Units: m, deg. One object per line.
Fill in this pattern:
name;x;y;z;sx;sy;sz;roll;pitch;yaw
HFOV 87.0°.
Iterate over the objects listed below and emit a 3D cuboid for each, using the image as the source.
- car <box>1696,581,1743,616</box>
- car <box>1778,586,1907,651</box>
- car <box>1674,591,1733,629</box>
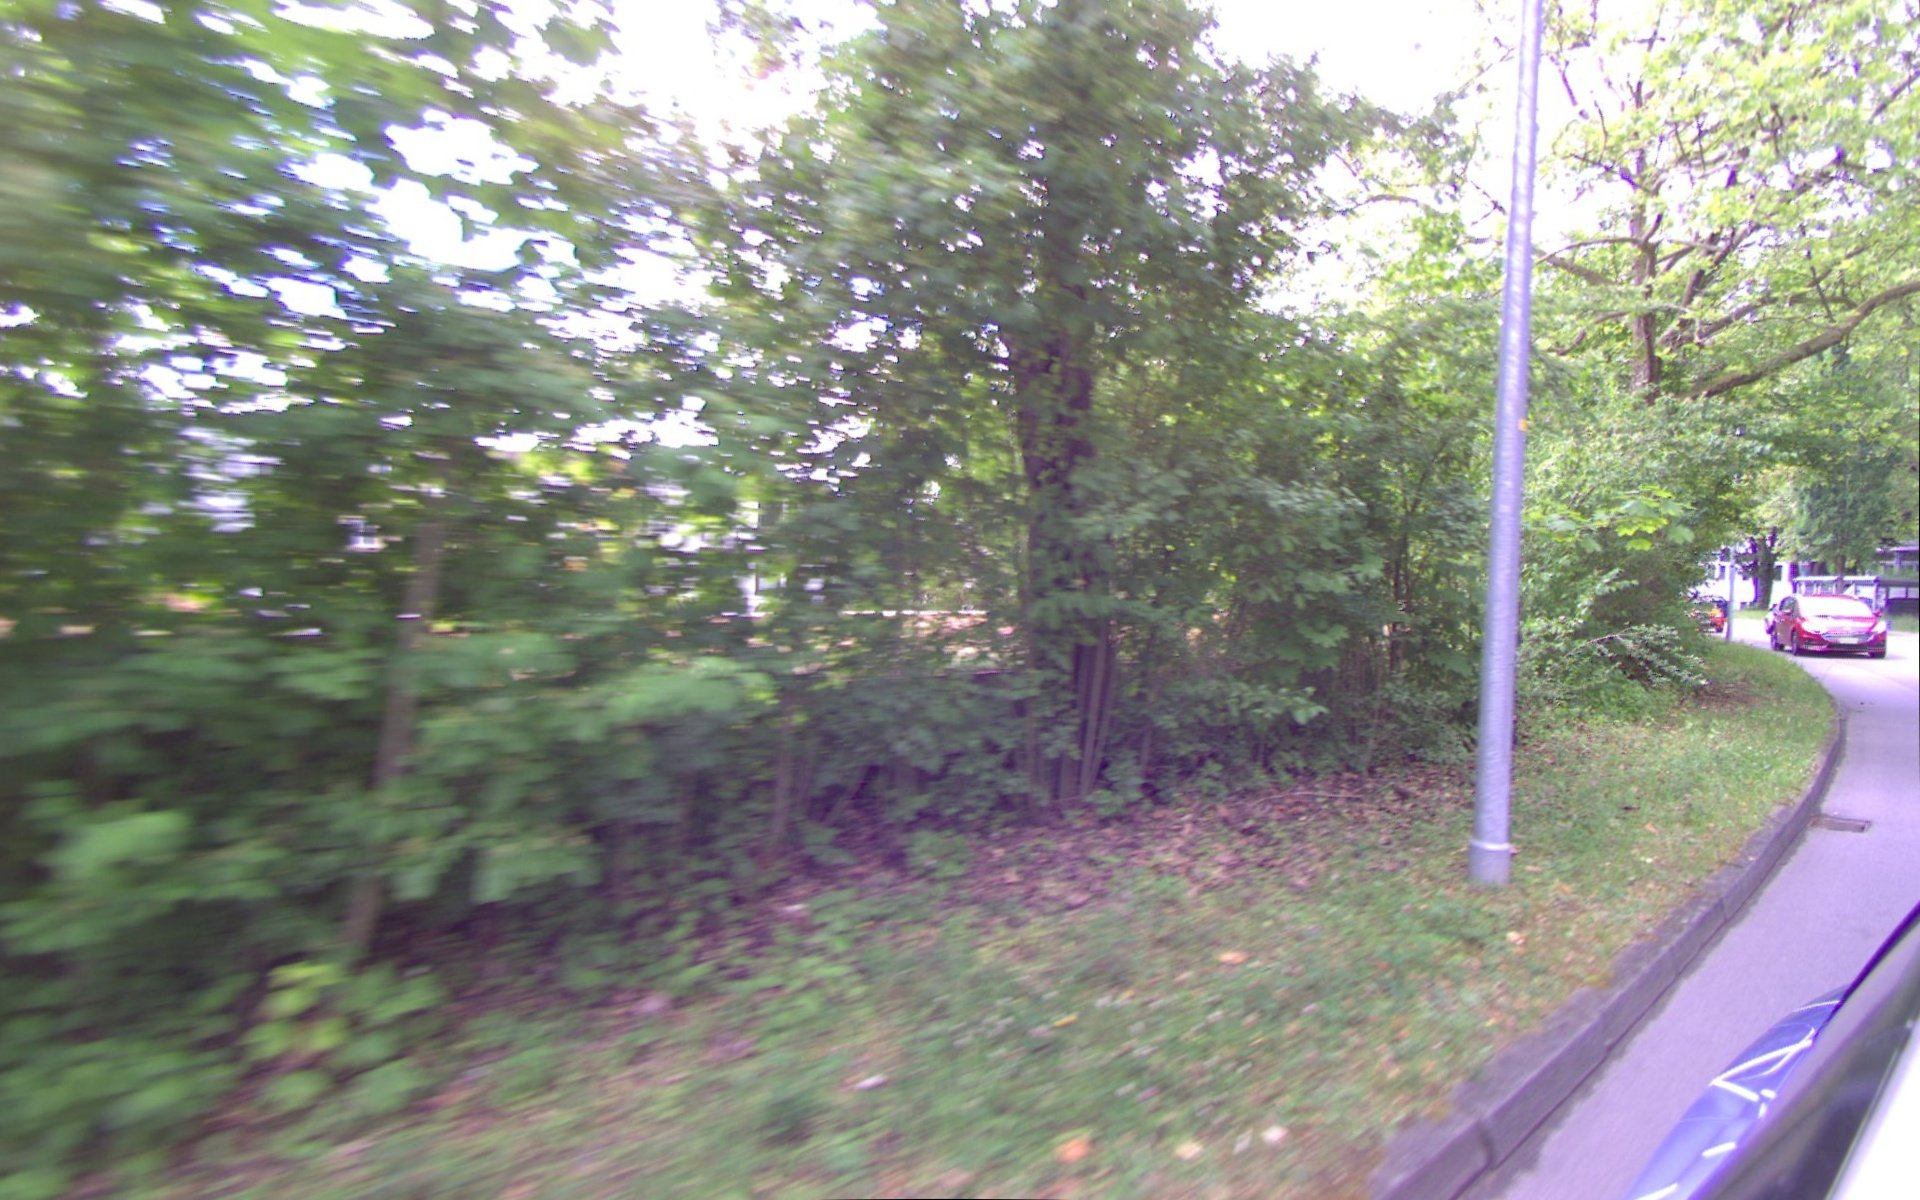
car;43.059;-0.095;57.415;1.987;1.899;3.950;0;1;35
car;23.727;0.421;27.392;1.932;1.578;4.307;0;1;32
car;31.762;0.391;43.302;1.937;1.551;4.033;0;0;36
